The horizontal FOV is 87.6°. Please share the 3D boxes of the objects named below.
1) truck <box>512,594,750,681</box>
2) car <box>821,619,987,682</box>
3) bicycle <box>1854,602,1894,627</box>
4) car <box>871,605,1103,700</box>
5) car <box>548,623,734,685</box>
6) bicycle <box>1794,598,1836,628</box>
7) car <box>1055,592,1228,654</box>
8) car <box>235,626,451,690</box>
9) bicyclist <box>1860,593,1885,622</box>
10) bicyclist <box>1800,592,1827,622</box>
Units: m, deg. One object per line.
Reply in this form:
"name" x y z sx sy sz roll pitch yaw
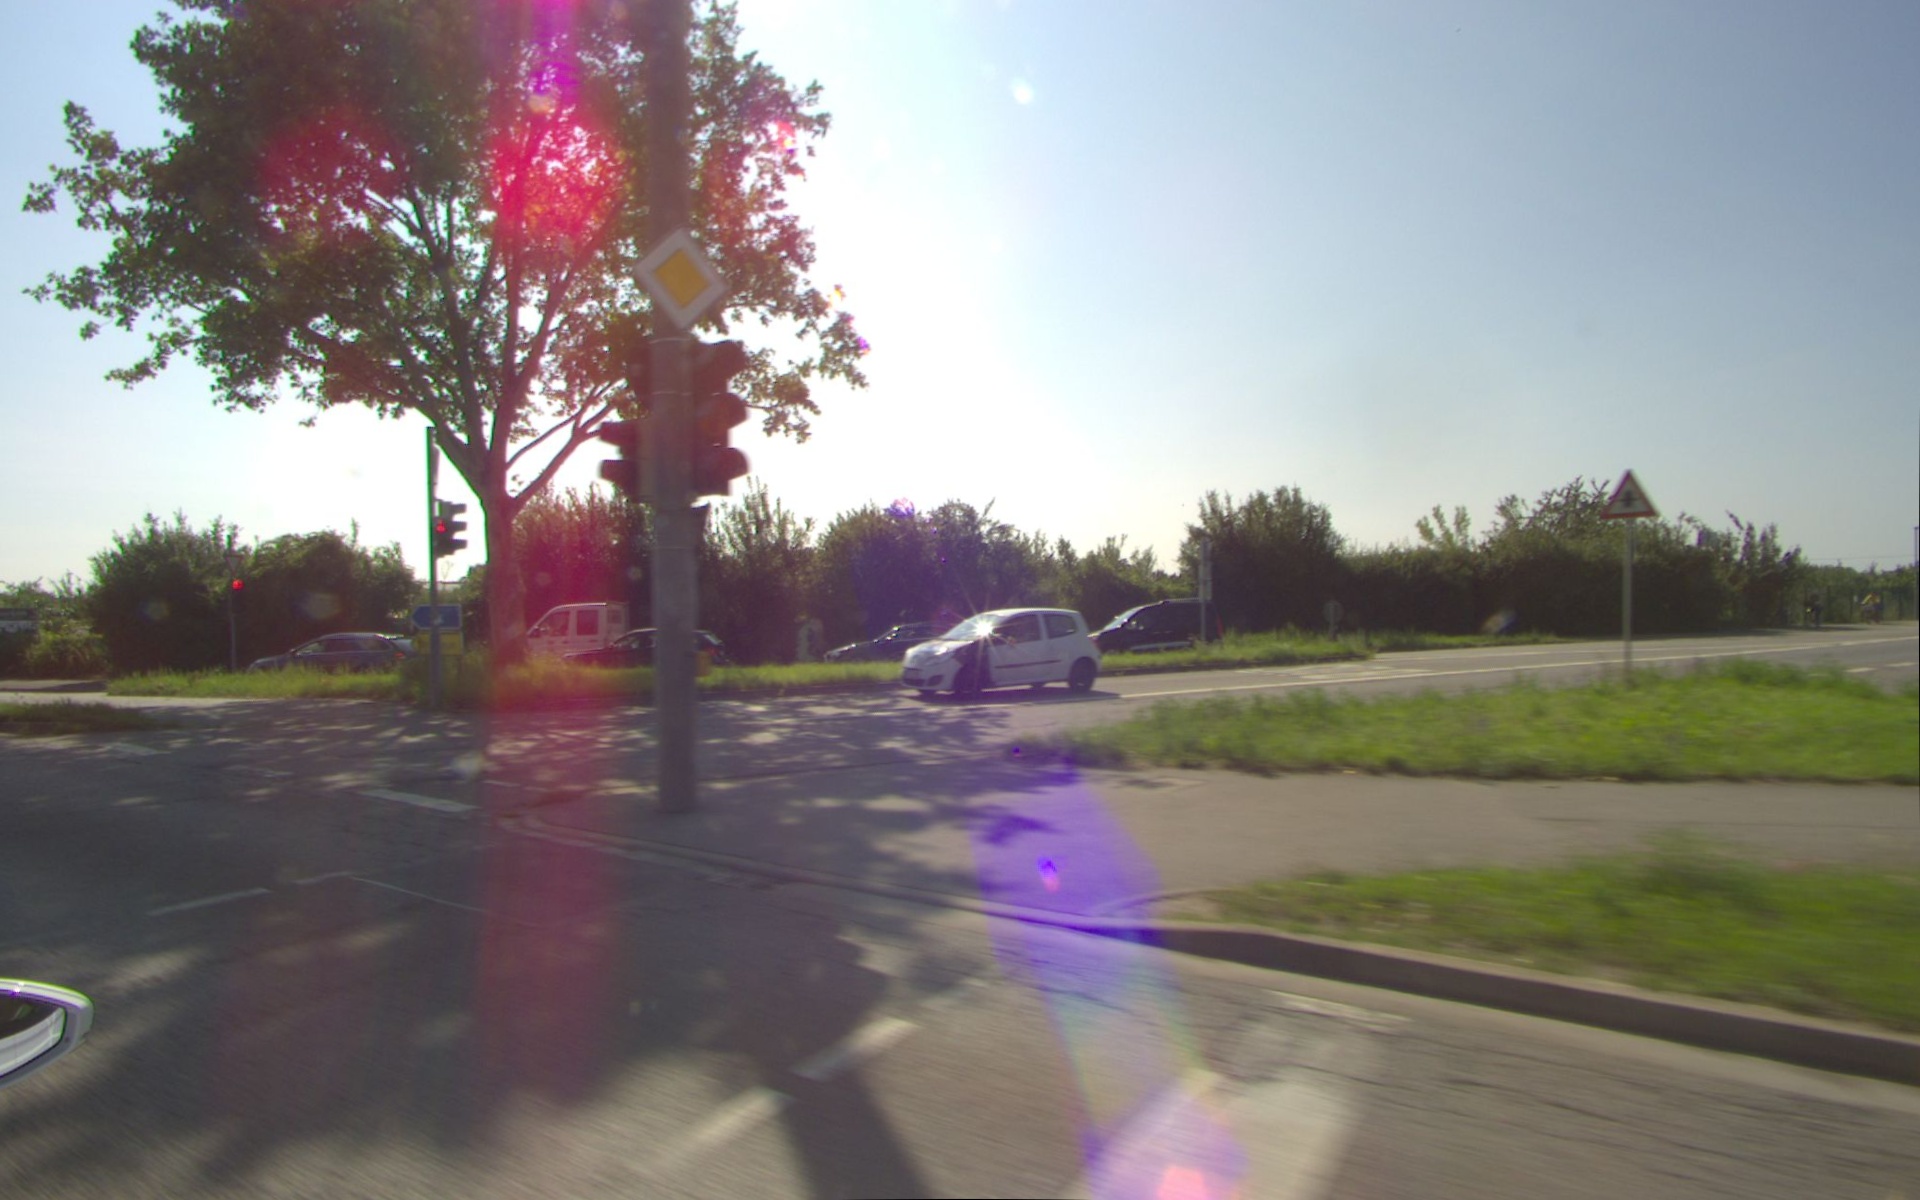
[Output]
"truck" -9.709 1.156 30.001 6.349 2.415 2.347 -1 -3 0
"car" -1.559 1.378 27.441 4.383 1.655 1.888 0 -3 -6
"bicycle" 45.313 0.724 49.636 2.245 1.249 0.610 0 -1 -24
"car" 0.498 0.850 17.551 3.702 1.488 1.776 0 -1 -31
"car" -8.489 1.436 26.955 4.382 1.547 2.001 -1 -2 -1
"bicycle" 39.874 0.602 46.699 2.245 1.393 0.610 0 -1 -24
"car" 5.073 0.691 28.197 4.387 1.655 1.886 0 -3 -14
"car" -16.271 1.516 26.555 4.527 1.567 2.001 -1 -1 2
"bicyclist" 45.208 0.369 49.599 0.904 1.398 0.610 0 -1 -24
"bicyclist" 39.762 0.319 46.652 0.904 1.398 0.610 0 -1 -24
